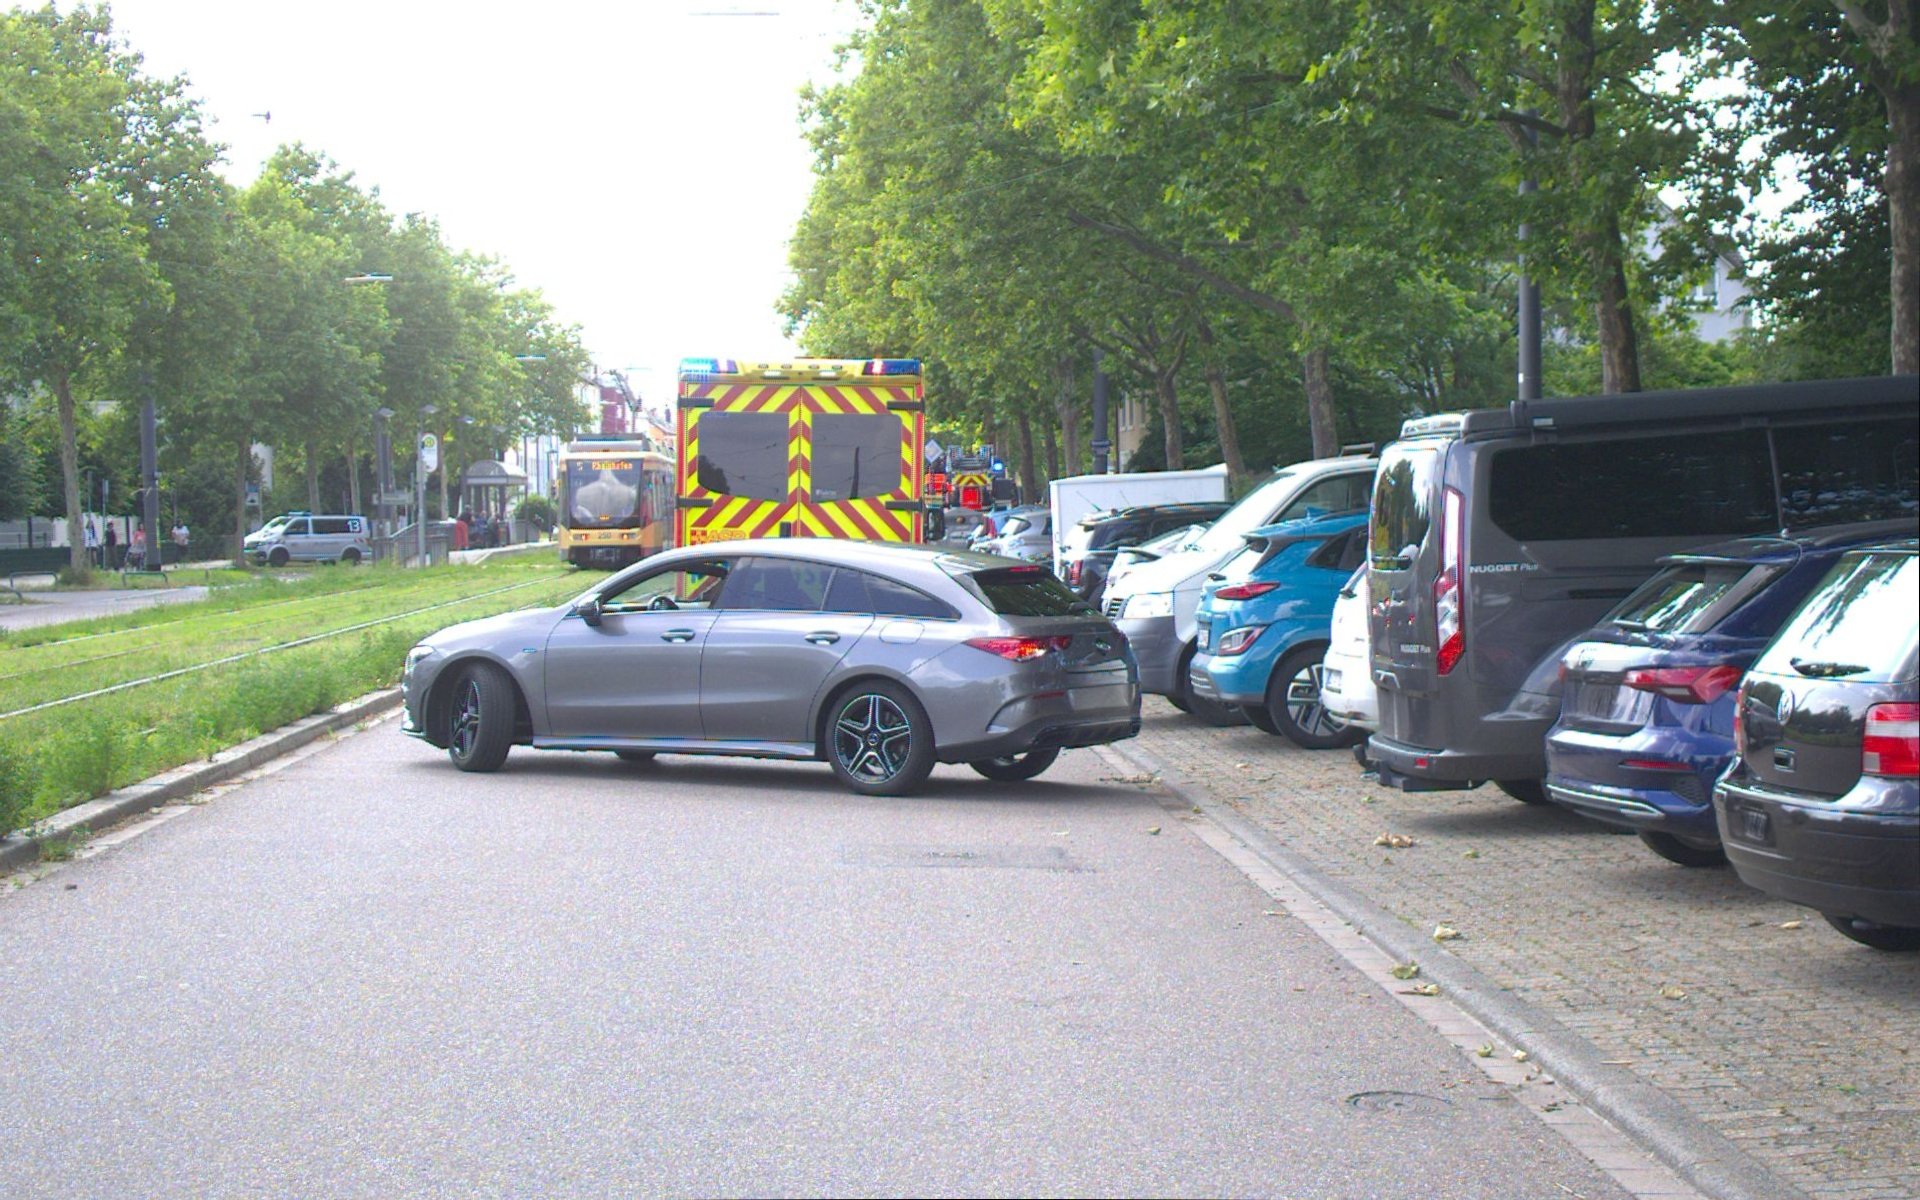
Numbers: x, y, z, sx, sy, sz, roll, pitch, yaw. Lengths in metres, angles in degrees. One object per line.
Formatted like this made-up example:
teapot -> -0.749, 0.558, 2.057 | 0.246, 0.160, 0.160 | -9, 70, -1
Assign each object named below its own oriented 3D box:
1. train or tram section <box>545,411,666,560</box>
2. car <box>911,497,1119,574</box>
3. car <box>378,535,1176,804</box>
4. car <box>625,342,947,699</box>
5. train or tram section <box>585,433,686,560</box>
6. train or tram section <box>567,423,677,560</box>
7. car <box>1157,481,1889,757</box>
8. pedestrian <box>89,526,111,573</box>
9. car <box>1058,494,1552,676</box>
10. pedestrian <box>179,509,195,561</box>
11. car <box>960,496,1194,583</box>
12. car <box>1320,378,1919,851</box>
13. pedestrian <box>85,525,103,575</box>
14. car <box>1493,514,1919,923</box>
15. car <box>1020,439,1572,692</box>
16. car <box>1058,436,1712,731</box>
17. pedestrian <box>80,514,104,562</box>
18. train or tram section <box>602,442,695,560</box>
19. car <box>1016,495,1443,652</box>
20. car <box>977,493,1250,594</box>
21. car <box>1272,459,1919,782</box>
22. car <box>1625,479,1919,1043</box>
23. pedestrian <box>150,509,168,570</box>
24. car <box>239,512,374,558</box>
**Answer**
train or tram section -> -9.084, -2.880, 88.719 | 2.511, 3.572, 7.446 | -2, 1, -2
car -> 1.233, -1.487, 78.778 | 4.545, 1.603, 1.856 | -2, 1, -6
car -> -1.121, 0.349, 20.485 | 4.460, 1.381, 1.764 | 2, 1, 28
car -> -1.514, -0.740, 32.437 | 2.641, 2.956, 6.300 | 2, 1, -1
train or tram section -> -9.712, -3.050, 103.585 | 2.511, 3.572, 7.446 | -2, 1, -2
train or tram section -> -9.402, -2.965, 96.145 | 2.511, 3.572, 7.446 | -2, 1, -2
car -> 3.768, 0.095, 23.433 | 4.545, 1.654, 1.856 | -2, 1, -6
pedestrian -> -26.133, -1.544, 104.475 | 0.422, 1.409, 0.467 | -1, 1, 23
car -> 3.368, -0.172, 34.028 | 4.545, 1.603, 1.856 | -2, 1, -6
pedestrian -> -27.324, -2.285, 121.498 | 0.466, 1.822, 0.423 | -1, 1, -4
car -> 2.384, -1.250, 70.573 | 4.545, 1.603, 1.856 | -2, 1, -6
car -> 4.203, 0.010, 16.946 | 4.545, 2.116, 1.856 | -2, 1, -2
pedestrian -> -25.857, -1.494, 102.647 | 0.421, 1.468, 0.467 | -1, 1, -6
car -> 4.308, 0.387, 13.830 | 3.965, 1.489, 1.756 | -2, 1, -2
car -> 2.929, -0.325, 30.538 | 4.545, 2.036, 1.856 | -2, 1, -6
car -> 3.145, -0.151, 25.950 | 4.545, 1.994, 1.856 | -2, 1, -6
pedestrian -> -28.057, -2.007, 111.102 | 0.632, 1.545, 0.622 | -1, 1, -5
train or tram section -> -10.015, -3.136, 111.023 | 2.511, 3.572, 7.446 | -2, 1, -2
car -> 3.031, -0.321, 39.176 | 4.545, 1.603, 1.856 | -2, 1, -6
car -> 2.683, -1.011, 60.728 | 4.545, 1.603, 1.856 | -2, 1, -6
car -> 4.309, 0.077, 20.913 | 4.545, 1.760, 1.856 | -2, 1, -2
car -> 4.362, 0.372, 11.031 | 3.964, 1.600, 1.757 | -2, 1, -12
pedestrian -> -22.983, -1.743, 98.613 | 0.421, 1.724, 0.467 | -1, 1, -6
car -> -24.483, -2.447, 128.944 | 4.615, 1.627, 1.882 | -2, 2, -41
